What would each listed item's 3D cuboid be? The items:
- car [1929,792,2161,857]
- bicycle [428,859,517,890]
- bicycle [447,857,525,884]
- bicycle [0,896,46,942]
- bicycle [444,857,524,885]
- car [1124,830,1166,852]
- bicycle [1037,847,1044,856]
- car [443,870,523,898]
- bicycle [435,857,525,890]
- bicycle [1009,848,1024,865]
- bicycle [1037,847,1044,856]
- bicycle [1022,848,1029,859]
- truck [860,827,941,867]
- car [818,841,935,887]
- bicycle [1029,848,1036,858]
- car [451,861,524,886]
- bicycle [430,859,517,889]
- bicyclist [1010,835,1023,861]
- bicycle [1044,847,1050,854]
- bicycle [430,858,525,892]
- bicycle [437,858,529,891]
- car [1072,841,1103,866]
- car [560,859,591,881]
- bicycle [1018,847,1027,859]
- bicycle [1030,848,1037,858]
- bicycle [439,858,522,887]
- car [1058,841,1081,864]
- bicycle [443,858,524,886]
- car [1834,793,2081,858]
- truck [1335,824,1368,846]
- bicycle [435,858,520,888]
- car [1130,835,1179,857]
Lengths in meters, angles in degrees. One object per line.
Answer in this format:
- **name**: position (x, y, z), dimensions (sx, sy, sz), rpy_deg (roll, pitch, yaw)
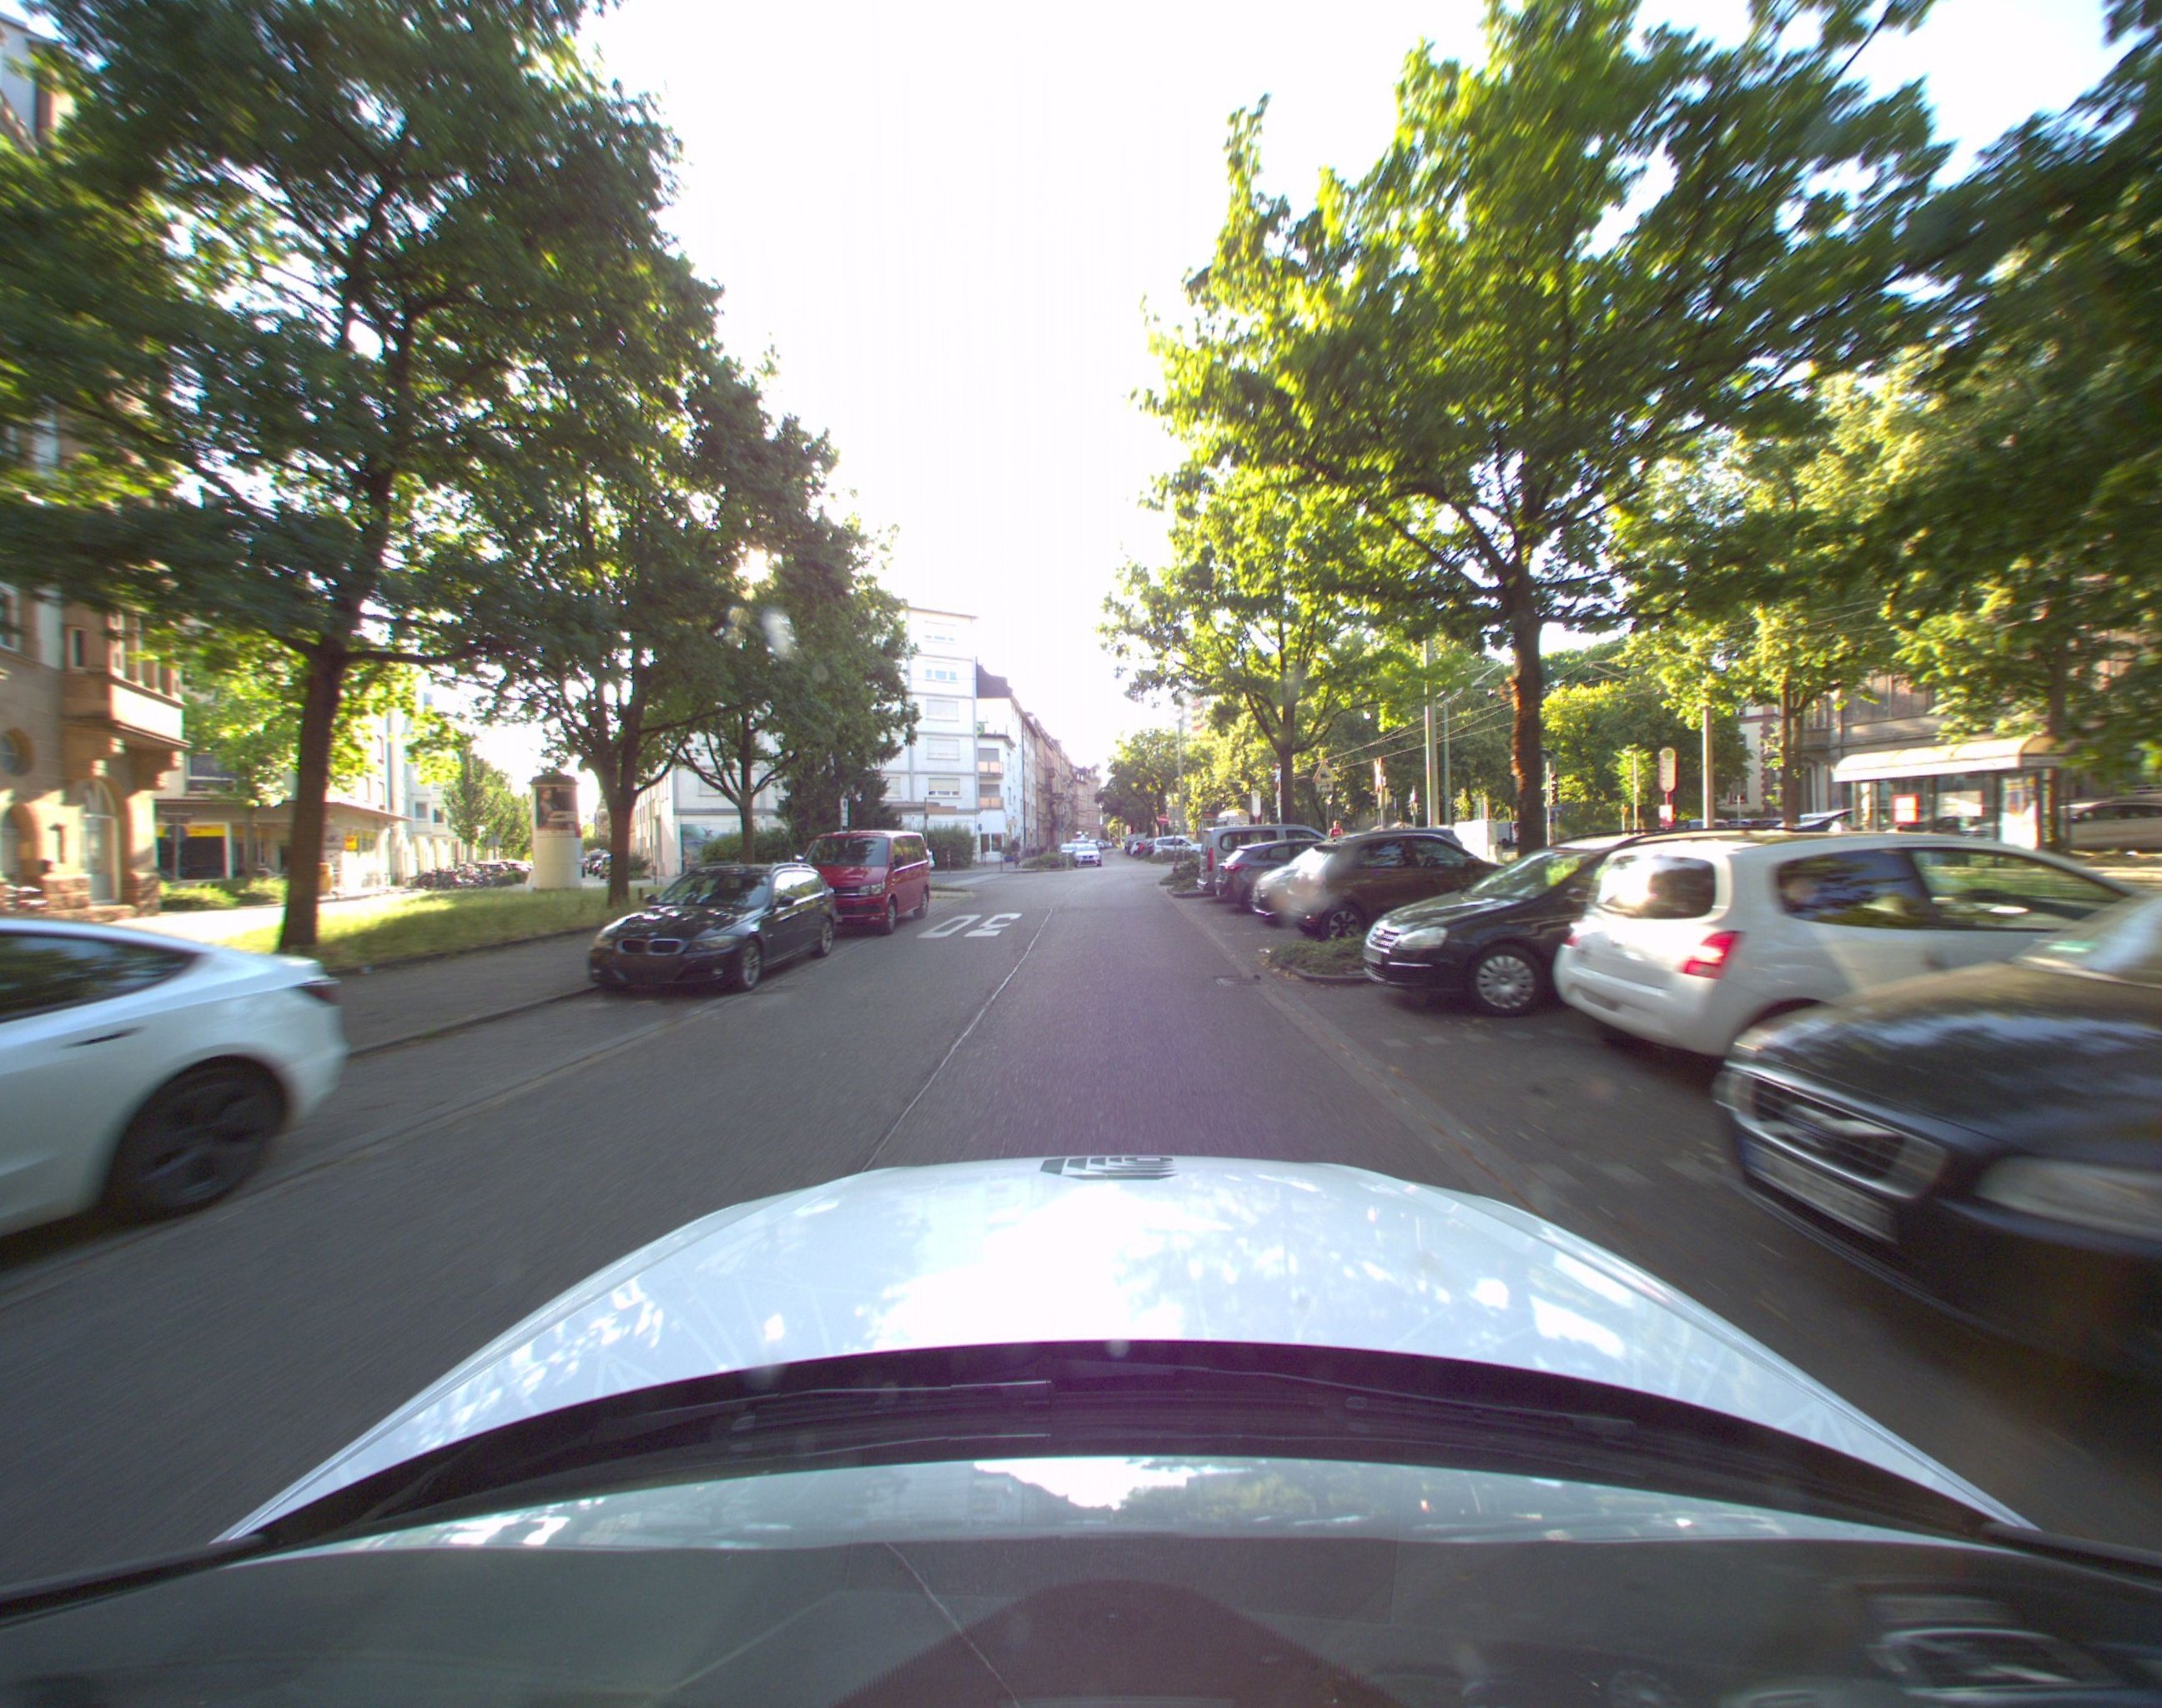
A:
- **car**: position (25.703, -0.768, 21.282), dimensions (4.497, 1.487, 1.940), rpy_deg (-2, 1, 23)
- **bicycle**: position (-29.814, 0.974, 39.994), dimensions (3.390, 1.445, 0.873), rpy_deg (0, -1, -30)
- **bicycle**: position (-32.664, 0.879, 44.779), dimensions (3.390, 1.445, 0.873), rpy_deg (0, -1, -30)
- **bicycle**: position (-20.081, 1.216, 15.267), dimensions (0.370, 0.732, 1.494), rpy_deg (-2, 2, -34)
- **bicycle**: position (-32.150, 0.901, 43.968), dimensions (3.390, 1.445, 0.873), rpy_deg (0, -1, -30)
- **car**: position (8.853, -1.825, 112.930), dimensions (5.201, 2.571, 2.288), rpy_deg (-6, 0, 30)
- **bicycle**: position (-5.012, -0.341, 101.305), dimensions (0.624, 1.003, 2.176), rpy_deg (-2, 1, 1)
- **car**: position (-39.457, 1.972, 53.850), dimensions (4.012, 1.558, 1.729), rpy_deg (-2, 1, -30)
- **bicycle**: position (-28.946, 0.927, 39.297), dimensions (3.390, 1.445, 0.873), rpy_deg (-1, 0, -30)
- **bicycle**: position (-4.186, 0.148, 52.958), dimensions (0.709, 1.051, 2.349), rpy_deg (-2, 1, 2)
- **bicycle**: position (-4.771, -0.254, 95.917), dimensions (0.624, 1.003, 2.176), rpy_deg (-2, 1, 1)
- **bicycle**: position (-5.564, -0.042, 81.536), dimensions (0.529, 1.003, 2.176), rpy_deg (-2, 1, 1)
- **truck**: position (-12.391, -0.489, 55.924), dimensions (4.991, 2.534, 1.979), rpy_deg (-2, 1, -33)
- **car**: position (-8.410, 0.387, 33.742), dimensions (4.525, 1.647, 1.934), rpy_deg (-2, 1, -14)
- **bicycle**: position (-5.087, -0.099, 85.502), dimensions (0.624, 1.003, 2.176), rpy_deg (-2, 1, 1)
- **car**: position (-42.364, 1.384, 58.234), dimensions (4.012, 1.558, 1.729), rpy_deg (-2, 1, -30)
- **bicycle**: position (-30.348, 0.960, 40.781), dimensions (3.390, 1.445, 0.873), rpy_deg (0, -1, -30)
- **bicyclist**: position (-4.210, -0.402, 52.921), dimensions (0.709, 1.617, 0.724), rpy_deg (-2, 1, 2)
- **bicycle**: position (-4.761, -0.531, 114.089), dimensions (0.624, 1.003, 2.176), rpy_deg (-2, 1, 1)
- **bicycle**: position (-27.590, 0.948, 37.304), dimensions (3.390, 1.445, 0.873), rpy_deg (-1, 0, -30)
- **bicycle**: position (-28.205, 0.926, 38.487), dimensions (3.390, 1.445, 0.873), rpy_deg (-1, 0, -30)
- **car**: position (0.396, -0.038, 52.310), dimensions (1.707, 1.445, 3.996), rpy_deg (-3, 1, -3)
- **car**: position (-43.220, 1.332, 69.647), dimensions (2.006, 1.784, 3.962), rpy_deg (-3, 1, -30)
- **bicycle**: position (-5.388, -0.088, 74.937), dimensions (0.529, 1.003, 2.177), rpy_deg (-2, 1, 3)
- **bicycle**: position (-5.185, -0.145, 89.043), dimensions (0.624, 1.003, 2.176), rpy_deg (-2, 1, 1)
- **bicycle**: position (-31.169, 0.932, 42.354), dimensions (3.390, 1.445, 0.873), rpy_deg (0, -1, -30)
- **car**: position (-0.895, -0.130, 65.277), dimensions (1.705, 1.673, 3.999), rpy_deg (-3, 1, 0)
- **bicycle**: position (-31.629, 0.918, 43.180), dimensions (3.390, 1.445, 0.873), rpy_deg (0, -1, -30)
- **car**: position (25.403, -0.800, 23.836), dimensions (4.497, 1.634, 1.940), rpy_deg (-2, 1, 23)
- **truck**: position (30.627, -2.112, 92.217), dimensions (2.357, 2.352, 4.386), rpy_deg (-2, 1, 2)
- **bicycle**: position (-30.740, 0.946, 41.546), dimensions (3.390, 1.445, 0.873), rpy_deg (0, -1, -30)
- **car**: position (6.920, -0.782, 77.099), dimensions (4.186, 1.651, 1.870), rpy_deg (-5, 0, 38)
